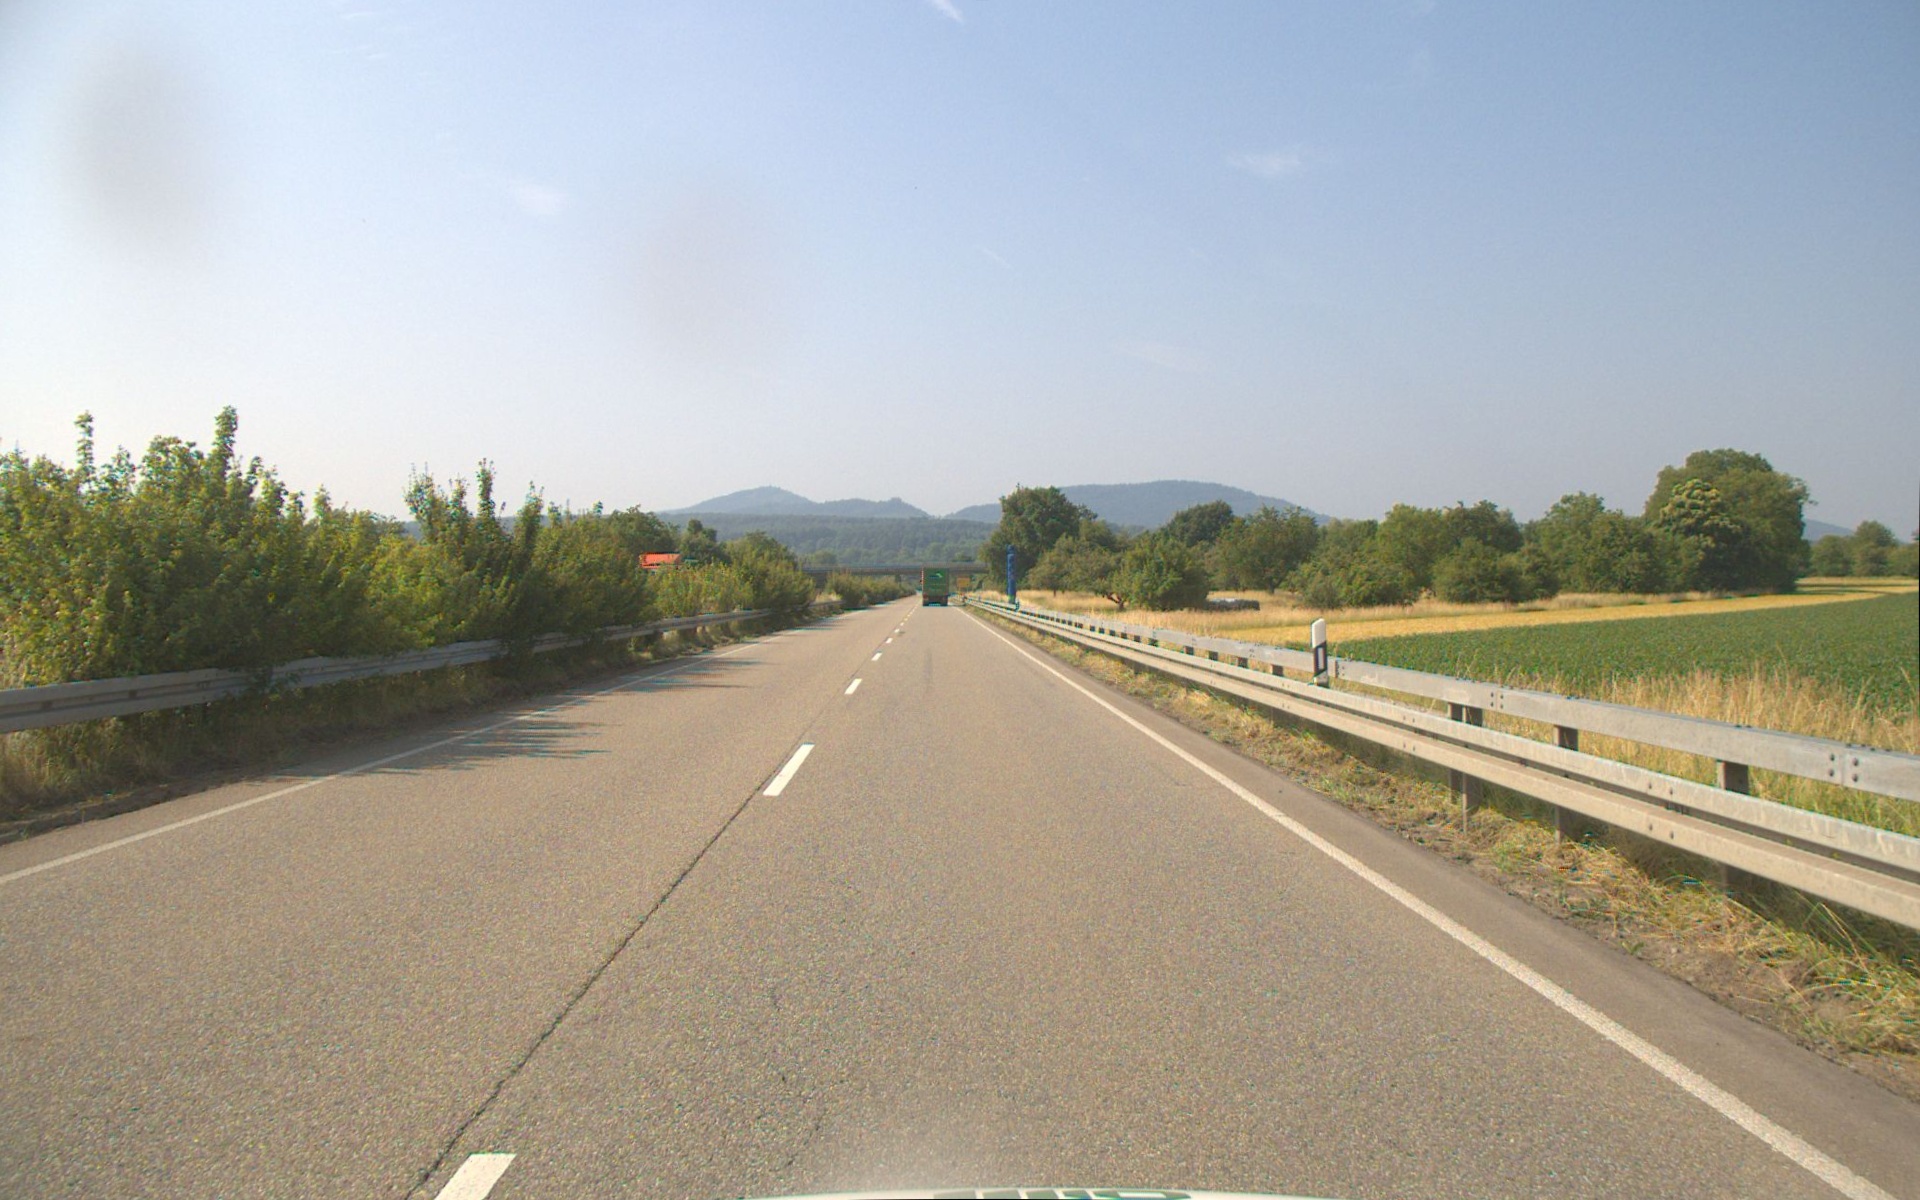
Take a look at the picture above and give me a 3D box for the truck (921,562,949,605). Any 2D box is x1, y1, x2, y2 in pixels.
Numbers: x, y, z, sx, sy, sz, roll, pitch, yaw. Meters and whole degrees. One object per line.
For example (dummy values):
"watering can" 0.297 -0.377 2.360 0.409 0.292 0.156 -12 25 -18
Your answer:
"truck" -2.445 -1.697 162.829 2.667 4.034 10.415 1 1 -1

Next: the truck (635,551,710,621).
"truck" -15.852 -0.728 91.937 2.550 3.651 10.383 0 0 -1
